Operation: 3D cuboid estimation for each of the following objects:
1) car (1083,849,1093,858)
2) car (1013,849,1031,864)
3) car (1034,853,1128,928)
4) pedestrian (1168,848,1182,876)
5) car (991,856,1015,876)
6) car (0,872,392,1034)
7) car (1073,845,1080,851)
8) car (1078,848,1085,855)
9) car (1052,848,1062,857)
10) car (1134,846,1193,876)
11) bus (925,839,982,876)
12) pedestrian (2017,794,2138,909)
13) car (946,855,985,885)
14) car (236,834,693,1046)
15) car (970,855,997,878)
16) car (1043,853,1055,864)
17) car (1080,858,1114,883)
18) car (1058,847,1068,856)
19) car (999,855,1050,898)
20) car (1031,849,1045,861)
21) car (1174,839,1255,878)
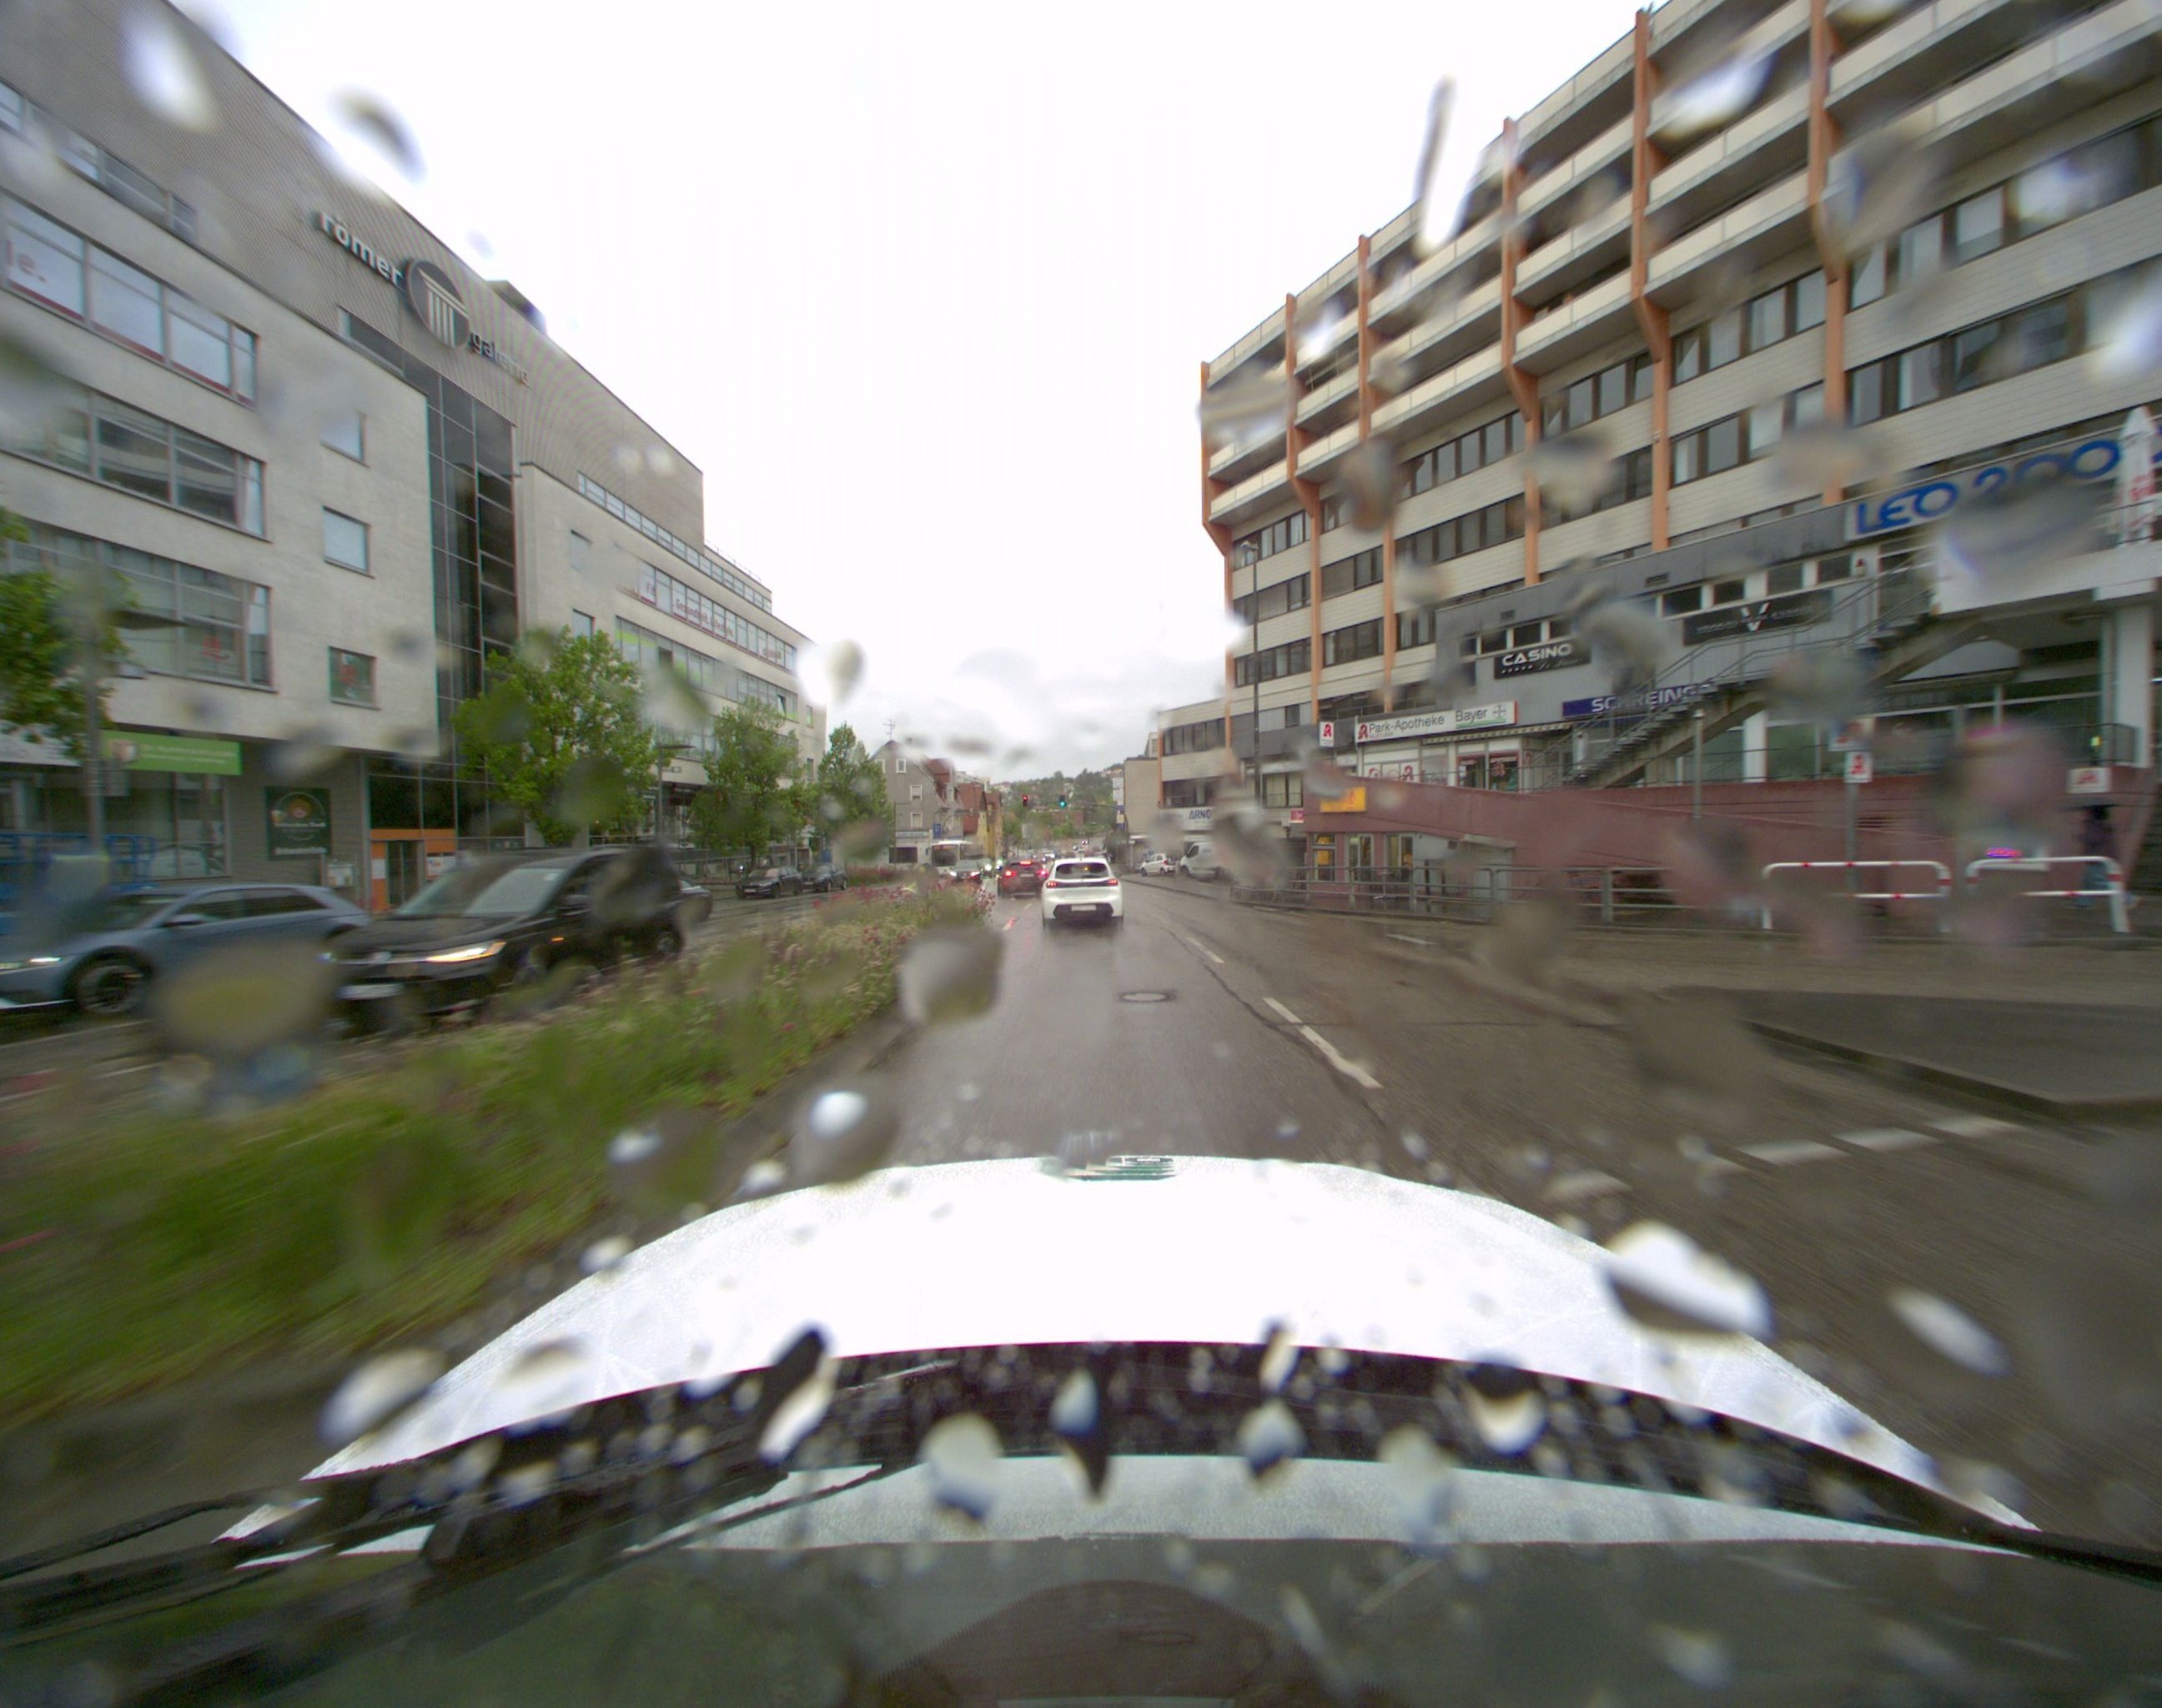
[{"bbox_3d":[1.335,-0.156,153.983,1.740,1.555,4.000,-2,1,0],"label":"car"},{"bbox_3d":[-6.783,0.276,94.398,1.740,1.555,4.000,-2,1,0],"label":"car"},{"bbox_3d":[-0.032,0.728,18.141,1.866,1.462,3.871,-1,0,-1],"label":"car"},{"bbox_3d":[6.245,0.511,53.927,0.644,1.822,0.577,-3,1,-31],"label":"pedestrian"},{"bbox_3d":[-7.172,1.100,75.517,1.810,1.555,3.999,-2,1,-1],"label":"car"},{"bbox_3d":[-12.546,1.211,11.313,1.767,1.593,4.591,-5,1,2],"label":"car"},{"bbox_3d":[-1.251,-1.621,227.358,1.740,1.555,4.000,-2,1,0],"label":"car"},{"bbox_3d":[0.145,-0.673,200.360,1.740,1.555,4.000,-2,1,0],"label":"car"},{"bbox_3d":[-4.371,-0.252,148.251,1.740,1.555,4.000,-2,1,0],"label":"car"},{"bbox_3d":[5.594,0.427,55.447,1.897,1.878,4.095,-3,2,-31],"label":"car"},{"bbox_3d":[-10.848,0.179,70.444,2.927,2.783,9.512,-2,1,3],"label":"bus"},{"bbox_3d":[15.029,-0.060,12.320,0.787,1.668,0.936,-1,3,21],"label":"pedestrian"},{"bbox_3d":[-6.936,0.951,49.111,1.888,1.555,3.997,-2,1,-2],"label":"car"},{"bbox_3d":[-6.618,0.753,9.546,1.987,1.823,4.298,-3,1,0],"label":"car"},{"bbox_3d":[-7.520,0.967,63.128,1.812,1.555,3.995,-2,1,-4],"label":"car"},{"bbox_3d":[-5.204,0.685,132.770,1.740,1.555,4.000,-2,1,0],"label":"car"},{"bbox_3d":[0.975,0.994,50.706,1.907,1.400,3.455,-1,1,-3],"label":"car"},{"bbox_3d":[-3.733,-0.559,170.021,1.779,1.683,4.003,0,2,2],"label":"car"},{"bbox_3d":[-2.227,0.840,31.731,1.812,1.530,3.806,-2,0,-5],"label":"car"},{"bbox_3d":[-6.184,0.065,117.493,1.740,1.555,4.000,-2,1,0],"label":"car"},{"bbox_3d":[8.180,0.257,50.274,2.009,2.226,4.923,-3,2,-35],"label":"car"}]
